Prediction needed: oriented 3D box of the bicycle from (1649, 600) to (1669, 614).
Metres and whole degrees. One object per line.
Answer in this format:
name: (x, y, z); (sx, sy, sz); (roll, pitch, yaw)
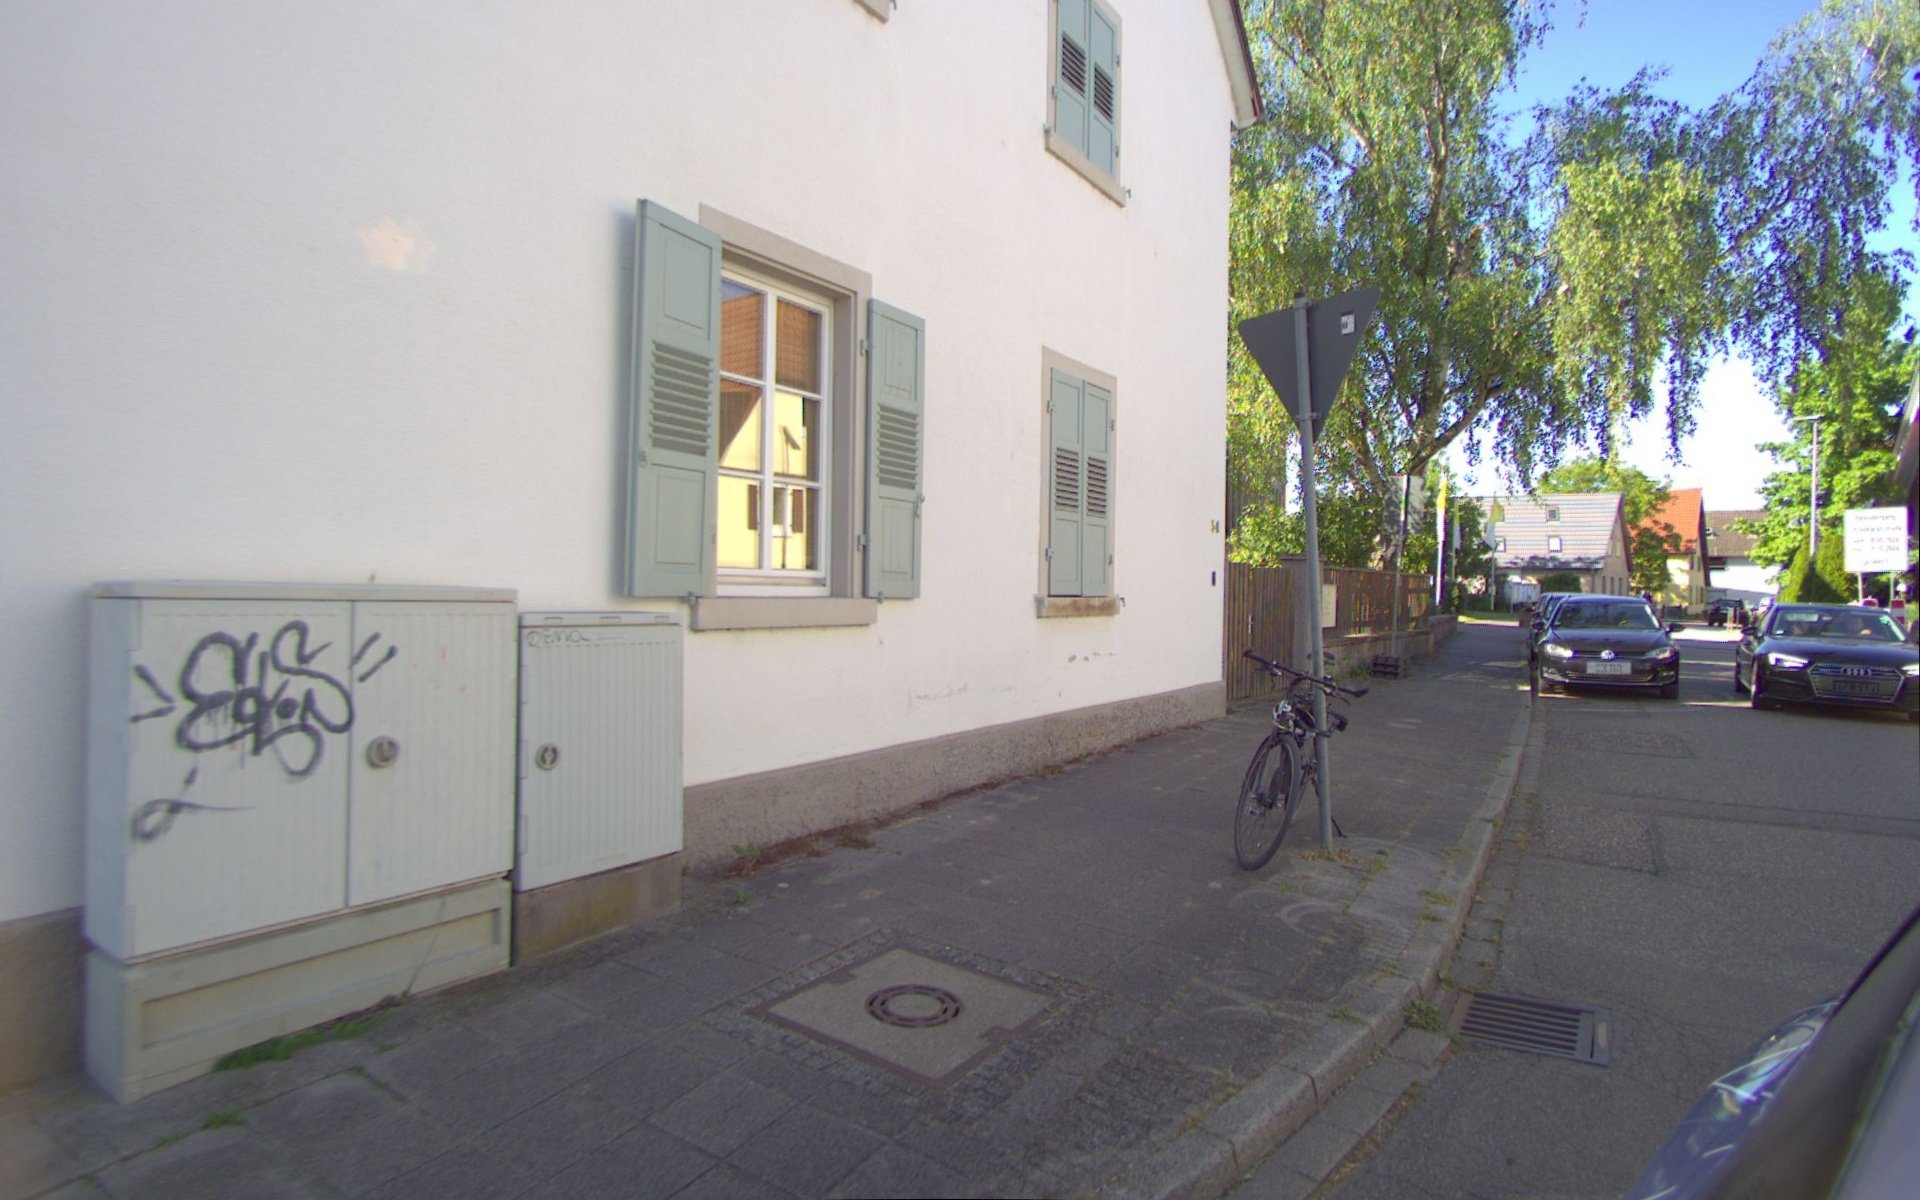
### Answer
bicycle: (40.357, 0.419, 58.408); (1.769, 0.771, 0.582); (0, 3, -44)

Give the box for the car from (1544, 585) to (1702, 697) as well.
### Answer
car: (10.256, 0.522, 15.791); (1.800, 1.454, 4.236); (1, 1, 32)

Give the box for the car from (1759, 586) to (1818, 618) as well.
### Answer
car: (52.286, 0.137, 63.851); (4.271, 1.811, 1.839); (1, 4, -37)

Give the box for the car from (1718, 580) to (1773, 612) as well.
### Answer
car: (43.763, -0.247, 56.371); (4.280, 1.692, 1.834); (-1, 1, -44)

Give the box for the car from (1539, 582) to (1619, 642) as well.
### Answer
car: (17.012, 0.276, 27.966); (1.639, 1.497, 3.894); (1, 1, 28)

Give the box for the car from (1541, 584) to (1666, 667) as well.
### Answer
car: (12.828, 0.425, 20.395); (1.797, 1.454, 4.243); (1, 1, 28)

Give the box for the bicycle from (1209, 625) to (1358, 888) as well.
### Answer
bicycle: (1.819, 0.737, 5.529); (0.432, 1.093, 1.872); (2, 2, 27)

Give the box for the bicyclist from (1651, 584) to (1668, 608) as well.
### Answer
bicyclist: (40.369, -0.247, 58.406); (0.598, 1.336, 0.582); (1, 3, -43)

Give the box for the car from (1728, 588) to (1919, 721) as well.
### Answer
car: (11.816, 0.604, 13.770); (1.796, 1.496, 4.293); (2, 2, 33)
